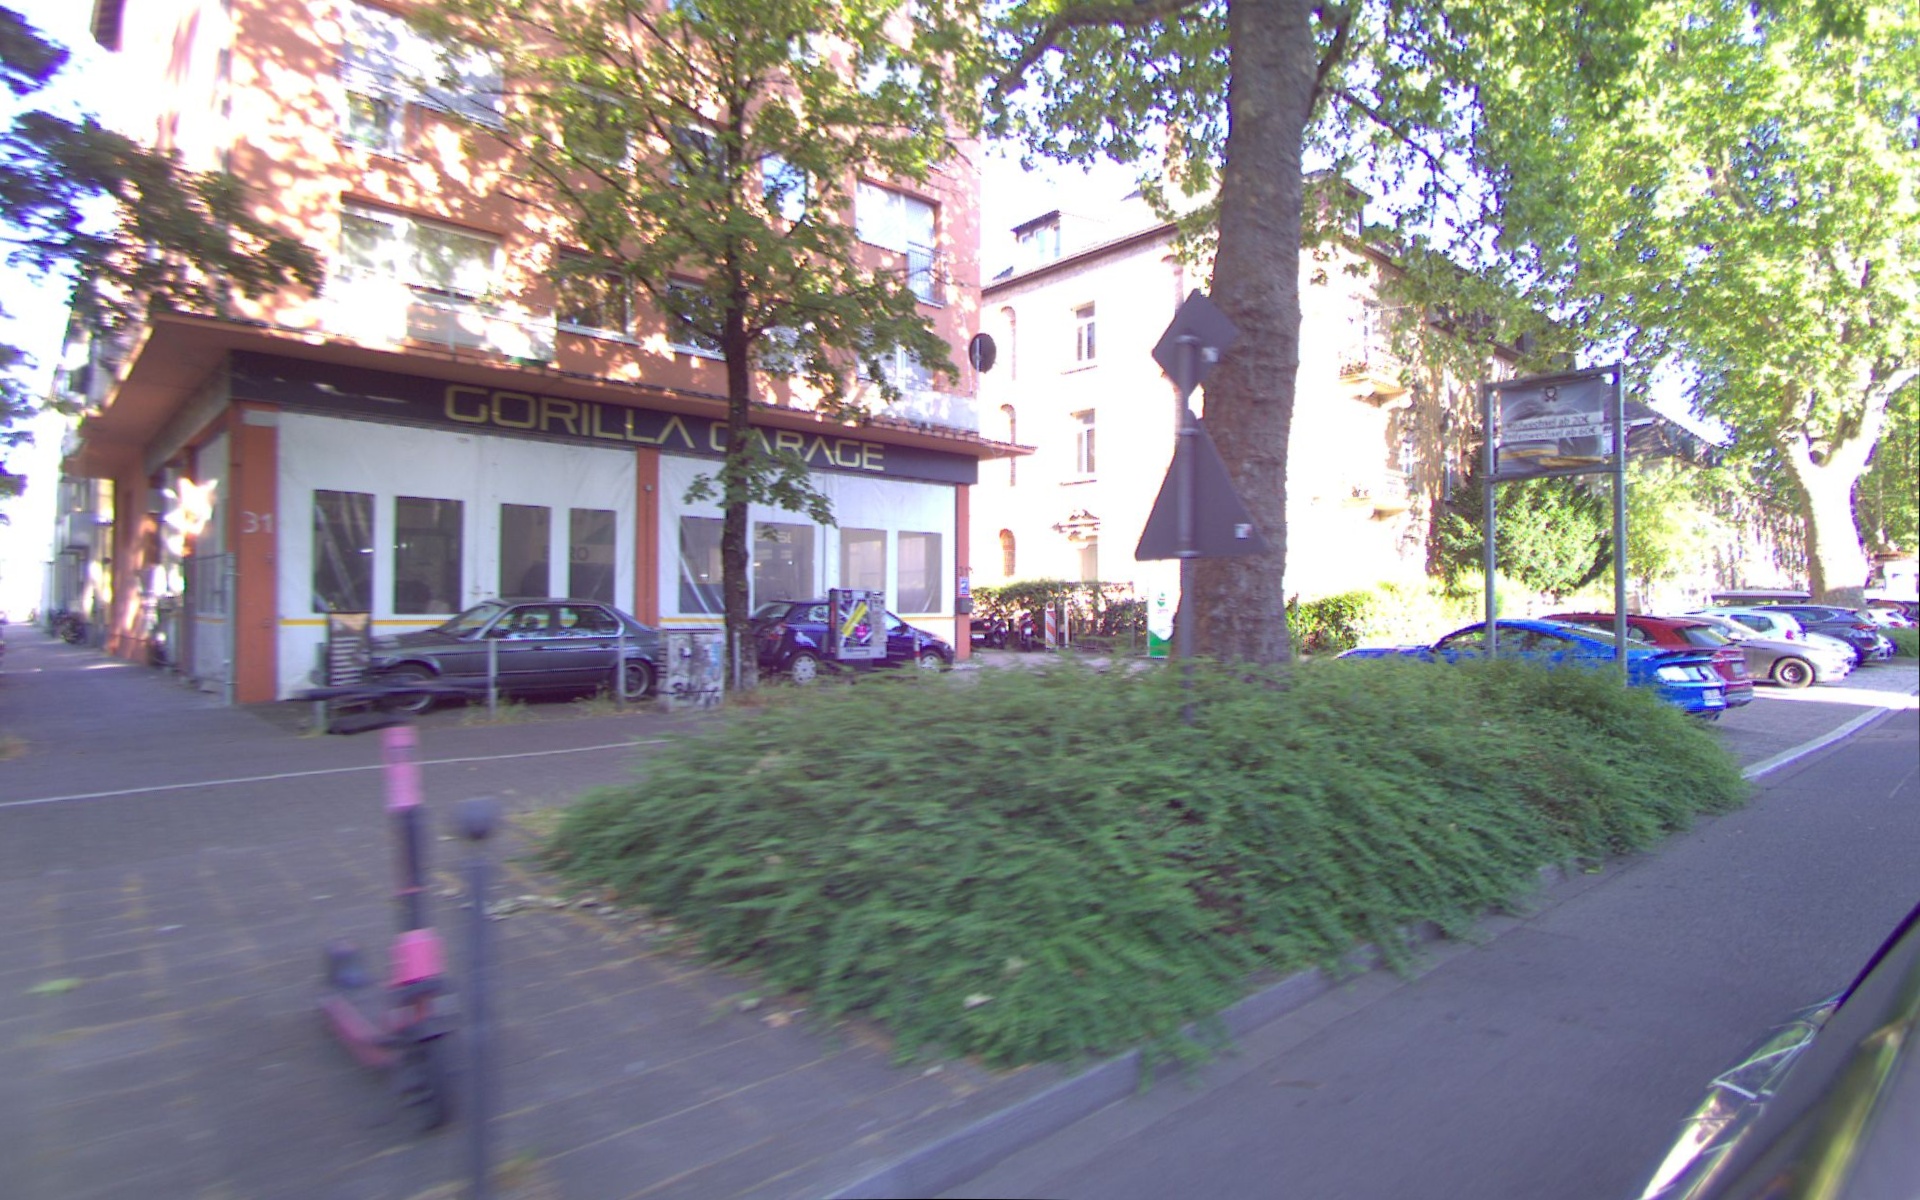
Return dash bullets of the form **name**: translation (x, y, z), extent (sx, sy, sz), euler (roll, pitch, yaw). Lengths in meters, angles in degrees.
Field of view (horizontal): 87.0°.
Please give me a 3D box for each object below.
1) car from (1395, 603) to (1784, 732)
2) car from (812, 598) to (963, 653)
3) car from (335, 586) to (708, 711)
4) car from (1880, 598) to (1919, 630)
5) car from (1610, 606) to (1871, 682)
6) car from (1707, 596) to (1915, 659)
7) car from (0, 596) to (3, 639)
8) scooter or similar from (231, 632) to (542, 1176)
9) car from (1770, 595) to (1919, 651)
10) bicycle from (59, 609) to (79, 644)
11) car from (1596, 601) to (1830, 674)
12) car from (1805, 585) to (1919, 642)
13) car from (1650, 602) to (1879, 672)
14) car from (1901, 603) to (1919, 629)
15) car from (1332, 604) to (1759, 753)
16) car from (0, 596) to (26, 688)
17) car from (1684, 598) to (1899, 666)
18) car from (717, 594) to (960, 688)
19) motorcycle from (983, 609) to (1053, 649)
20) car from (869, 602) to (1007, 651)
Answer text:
- **car**: translation (8.900, 0.833, 14.653), extent (1.916, 1.562, 4.413), euler (0, 0, -39)
- **car**: translation (-2.033, 0.643, 27.795), extent (3.983, 1.408, 1.914), euler (0, 0, 42)
- **car**: translation (-5.877, 0.567, 13.914), extent (4.390, 1.453, 1.751), euler (0, 0, -42)
- **car**: translation (52.330, 0.785, 53.878), extent (1.860, 1.652, 4.806), euler (2, -1, -41)
- **car**: translation (16.706, 0.873, 21.823), extent (1.786, 1.466, 4.206), euler (1, 0, -41)
- **car**: translation (23.782, 0.710, 28.410), extent (1.785, 1.639, 4.209), euler (1, 0, -39)
- **car**: translation (-45.428, 0.779, 44.707), extent (1.789, 1.931, 4.505), euler (0, 0, 44)
- **scooter or similar**: translation (-1.778, 0.751, 3.073), extent (0.560, 1.255, 1.209), euler (0, 0, -43)
- **car**: translation (28.716, 0.691, 32.664), extent (1.760, 1.639, 3.786), euler (1, 1, -43)
- **bicycle**: translation (-29.992, 0.863, 34.080), extent (0.491, 1.121, 1.797), euler (1, 0, -41)
- **car**: translation (17.948, 0.825, 24.303), extent (1.785, 1.575, 4.209), euler (0, 0, -39)
- **car**: translation (35.215, 0.502, 38.247), extent (2.158, 2.039, 4.849), euler (1, 1, -44)
- **car**: translation (19.973, 0.844, 25.279), extent (1.785, 1.594, 4.209), euler (0, 0, -39)
- **car**: translation (57.737, 0.983, 58.586), extent (1.858, 1.513, 4.611), euler (2, 0, -38)
- **car**: translation (7.230, 0.834, 12.986), extent (1.783, 1.562, 4.418), euler (0, 0, -34)
- **car**: translation (-18.654, 0.724, 16.839), extent (1.789, 1.595, 4.505), euler (0, 0, 44)
- **car**: translation (21.832, 0.781, 26.683), extent (1.847, 1.639, 4.203), euler (1, -1, -44)
- **car**: translation (-2.032, 0.633, 17.555), extent (3.882, 1.453, 1.751), euler (0, 0, -42)
- **motorcycle**: translation (1.703, 0.847, 30.023), extent (0.792, 1.117, 2.385), euler (1, 0, -35)
- **car**: translation (-0.704, 0.747, 30.219), extent (1.911, 1.343, 3.989), euler (0, 0, -45)
